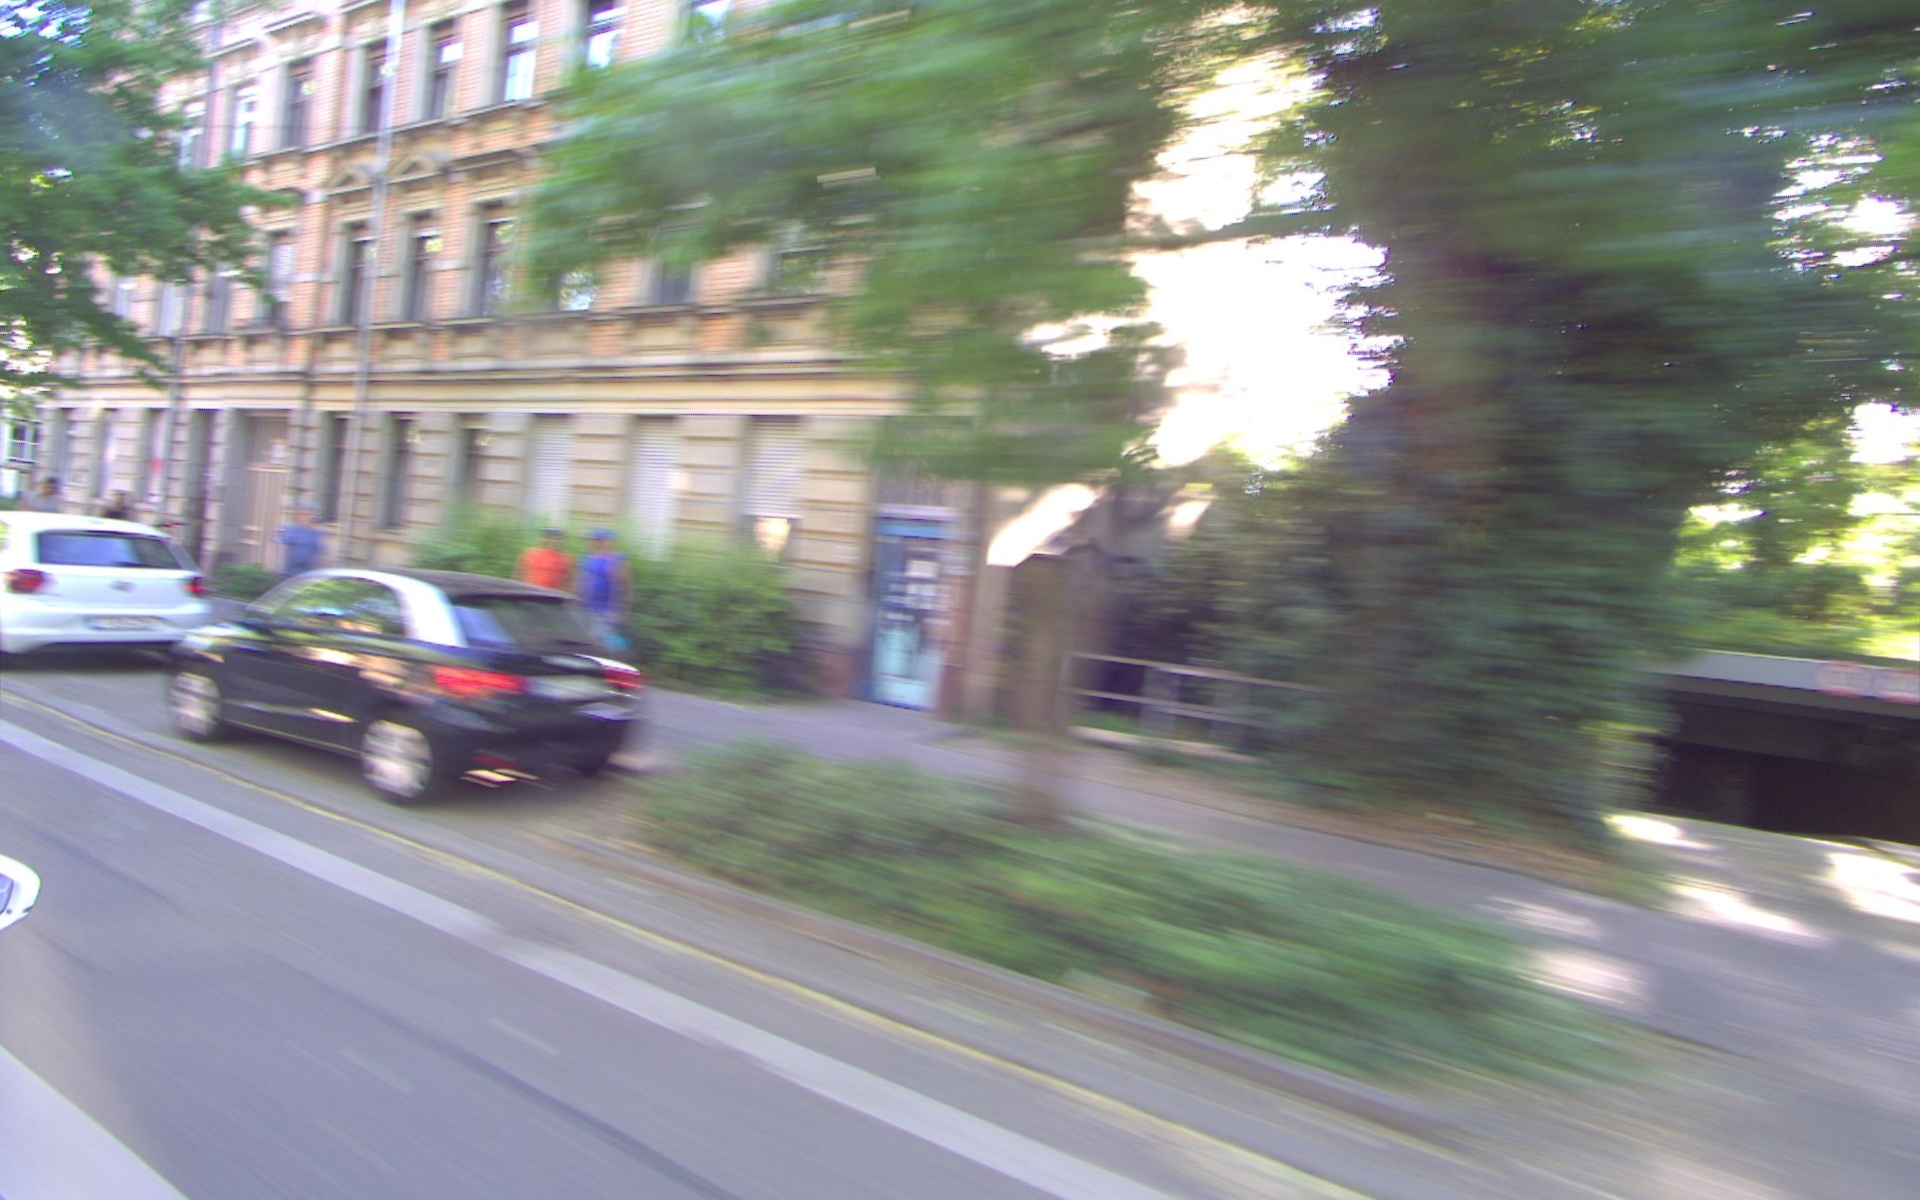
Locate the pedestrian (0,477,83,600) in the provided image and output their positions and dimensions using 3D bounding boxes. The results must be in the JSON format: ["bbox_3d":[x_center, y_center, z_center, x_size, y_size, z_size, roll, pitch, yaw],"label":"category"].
[{"bbox_3d":[-13.995,-0.926,15.232,0.942,1.713,0.726,6,-1,35],"label":"pedestrian"}]

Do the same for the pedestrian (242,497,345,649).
[{"bbox_3d":[-8.458,-0.333,12.780,0.590,1.814,0.727,7,0,29],"label":"pedestrian"}]

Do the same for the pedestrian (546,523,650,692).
[{"bbox_3d":[-4.115,0.096,11.444,0.715,1.814,0.600,7,0,27],"label":"pedestrian"}]

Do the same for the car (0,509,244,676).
[{"bbox_3d":[-9.648,-0.188,10.589,4.037,1.386,1.885,6,2,30],"label":"car"}]

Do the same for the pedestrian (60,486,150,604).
[{"bbox_3d":[-13.499,-0.859,15.891,0.842,1.730,0.727,6,-1,33],"label":"pedestrian"}]

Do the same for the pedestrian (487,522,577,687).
[{"bbox_3d":[-5.000,0.058,11.743,0.720,1.814,0.596,7,0,-30],"label":"pedestrian"}]

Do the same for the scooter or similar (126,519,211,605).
[{"bbox_3d":[-13.155,-0.634,16.720,1.312,1.261,0.577,6,-1,31],"label":"scooter or similar"}]

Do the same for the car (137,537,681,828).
[{"bbox_3d":[-4.099,0.444,7.391,3.776,1.431,1.674,6,2,28],"label":"car"}]
